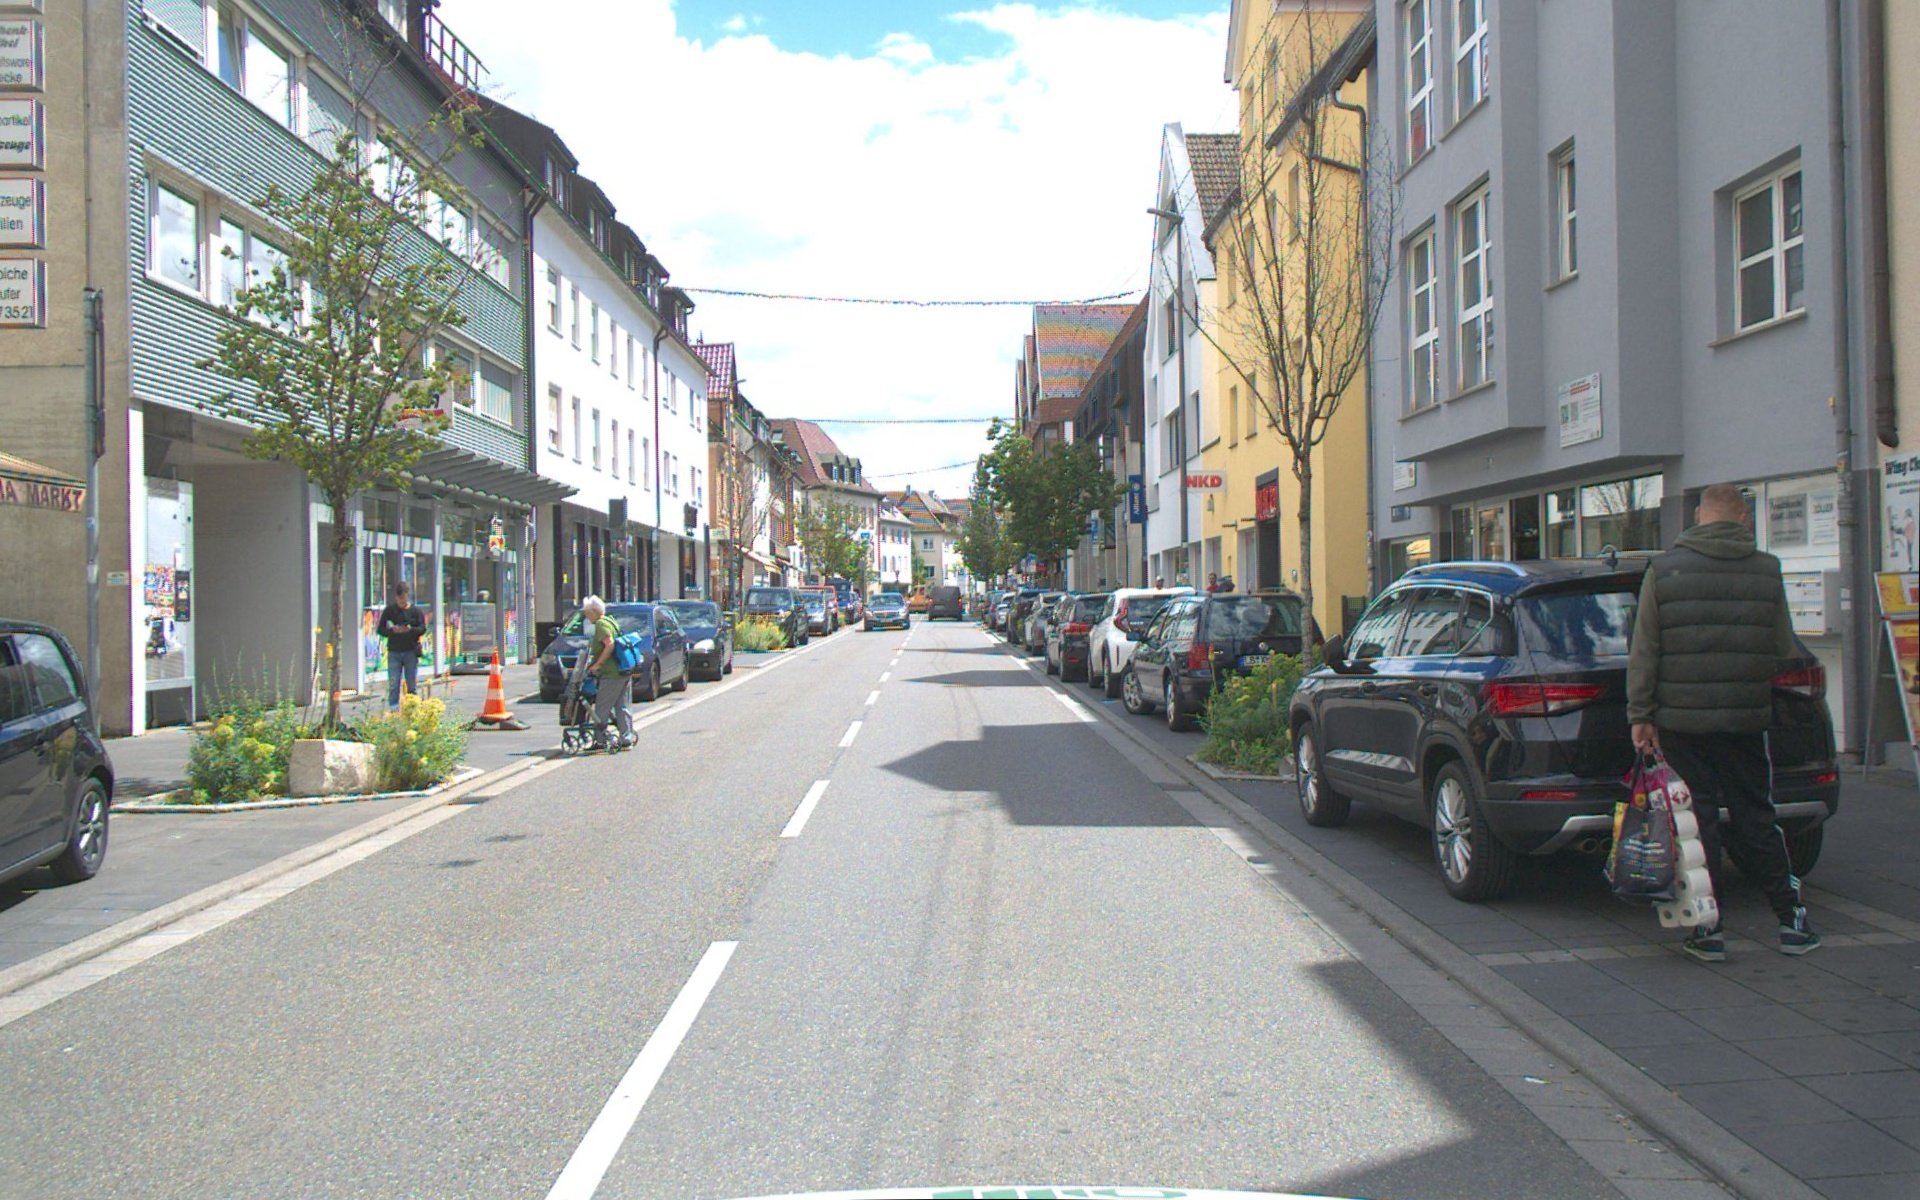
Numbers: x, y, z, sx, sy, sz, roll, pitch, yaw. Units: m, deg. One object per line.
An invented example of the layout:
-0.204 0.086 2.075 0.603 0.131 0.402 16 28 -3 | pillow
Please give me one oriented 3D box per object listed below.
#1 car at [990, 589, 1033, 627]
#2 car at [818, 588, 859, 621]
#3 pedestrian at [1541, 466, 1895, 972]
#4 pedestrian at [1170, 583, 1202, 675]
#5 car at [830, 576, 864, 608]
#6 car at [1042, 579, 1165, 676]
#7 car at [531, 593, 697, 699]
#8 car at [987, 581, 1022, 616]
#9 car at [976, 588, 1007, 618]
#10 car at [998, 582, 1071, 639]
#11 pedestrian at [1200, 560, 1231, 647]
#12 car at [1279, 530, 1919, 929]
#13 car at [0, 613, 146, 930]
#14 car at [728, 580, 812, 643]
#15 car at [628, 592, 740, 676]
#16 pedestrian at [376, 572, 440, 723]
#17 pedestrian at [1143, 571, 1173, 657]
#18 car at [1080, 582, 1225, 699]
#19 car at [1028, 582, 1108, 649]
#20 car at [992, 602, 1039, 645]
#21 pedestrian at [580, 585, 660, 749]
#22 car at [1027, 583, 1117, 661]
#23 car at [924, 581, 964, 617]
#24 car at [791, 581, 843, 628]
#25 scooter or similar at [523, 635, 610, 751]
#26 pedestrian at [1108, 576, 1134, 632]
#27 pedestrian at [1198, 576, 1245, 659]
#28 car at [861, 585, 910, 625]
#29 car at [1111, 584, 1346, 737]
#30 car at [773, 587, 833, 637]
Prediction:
2.143 0.337 69.382 1.686 1.520 4.109 1 -1 0 | car
-6.048 0.199 82.815 1.762 1.626 4.388 0 0 -1 | car
3.065 0.456 6.788 0.956 1.896 0.864 -3 -1 -2 | pedestrian
4.646 0.595 34.027 0.576 1.873 0.576 1 -1 0 | pedestrian
-6.061 -0.420 88.610 1.764 1.632 4.348 -1 0 -4 | car
2.460 0.425 29.311 1.655 1.497 4.523 1 2 -2 | car
-5.450 0.668 26.620 1.754 1.539 4.711 0 0 -1 | car
2.121 -0.080 80.051 1.576 1.559 3.795 -2 0 1 | car
1.727 0.142 92.211 1.577 1.520 3.795 -4 0 1 | car
2.159 0.314 49.138 1.687 1.604 4.105 1 -1 -4 | car
5.596 0.076 36.270 0.576 1.873 0.576 1 -1 0 | pedestrian
3.164 0.538 9.212 1.763 1.631 4.202 -3 0 -2 | car
-5.285 0.796 7.852 1.568 1.471 3.549 1 -1 -10 | car
-5.601 0.346 49.302 1.778 1.786 4.670 1 -1 2 | car
-5.343 0.619 32.451 1.755 1.529 4.174 1 0 -4 | car
-6.655 0.565 19.971 0.537 1.788 0.728 1 -1 -4 | pedestrian
4.349 0.304 36.395 0.576 1.873 0.576 1 -1 0 | pedestrian
2.808 0.572 24.791 1.655 1.601 3.755 1 -1 -1 | car
2.557 0.380 39.933 1.686 1.502 4.354 1 -1 0 | car
2.091 0.897 63.713 1.686 1.604 4.428 1 -1 0 | car
-3.475 0.677 16.953 0.717 1.646 0.650 1 -1 -6 | pedestrian
2.286 0.454 34.831 1.597 1.502 4.957 1 -1 0 | car
-0.908 -0.045 90.849 2.000 1.881 4.996 1 -1 -2 | car
-6.057 0.201 70.366 1.779 1.922 4.840 1 -1 0 | car
-4.009 0.943 16.880 0.766 1.145 0.629 1 -1 -6 | scooter or similar
5.162 0.140 53.015 0.726 1.767 0.757 1 -1 0 | pedestrian
5.052 0.339 31.964 0.734 1.580 0.726 -1 -1 -2 | pedestrian
-3.106 0.216 69.487 1.866 1.591 4.645 1 -1 -1 | car
2.942 0.632 19.004 1.656 1.465 4.292 -3 0 -4 | car
-5.881 0.461 62.452 1.779 1.786 4.464 1 -1 1 | car
